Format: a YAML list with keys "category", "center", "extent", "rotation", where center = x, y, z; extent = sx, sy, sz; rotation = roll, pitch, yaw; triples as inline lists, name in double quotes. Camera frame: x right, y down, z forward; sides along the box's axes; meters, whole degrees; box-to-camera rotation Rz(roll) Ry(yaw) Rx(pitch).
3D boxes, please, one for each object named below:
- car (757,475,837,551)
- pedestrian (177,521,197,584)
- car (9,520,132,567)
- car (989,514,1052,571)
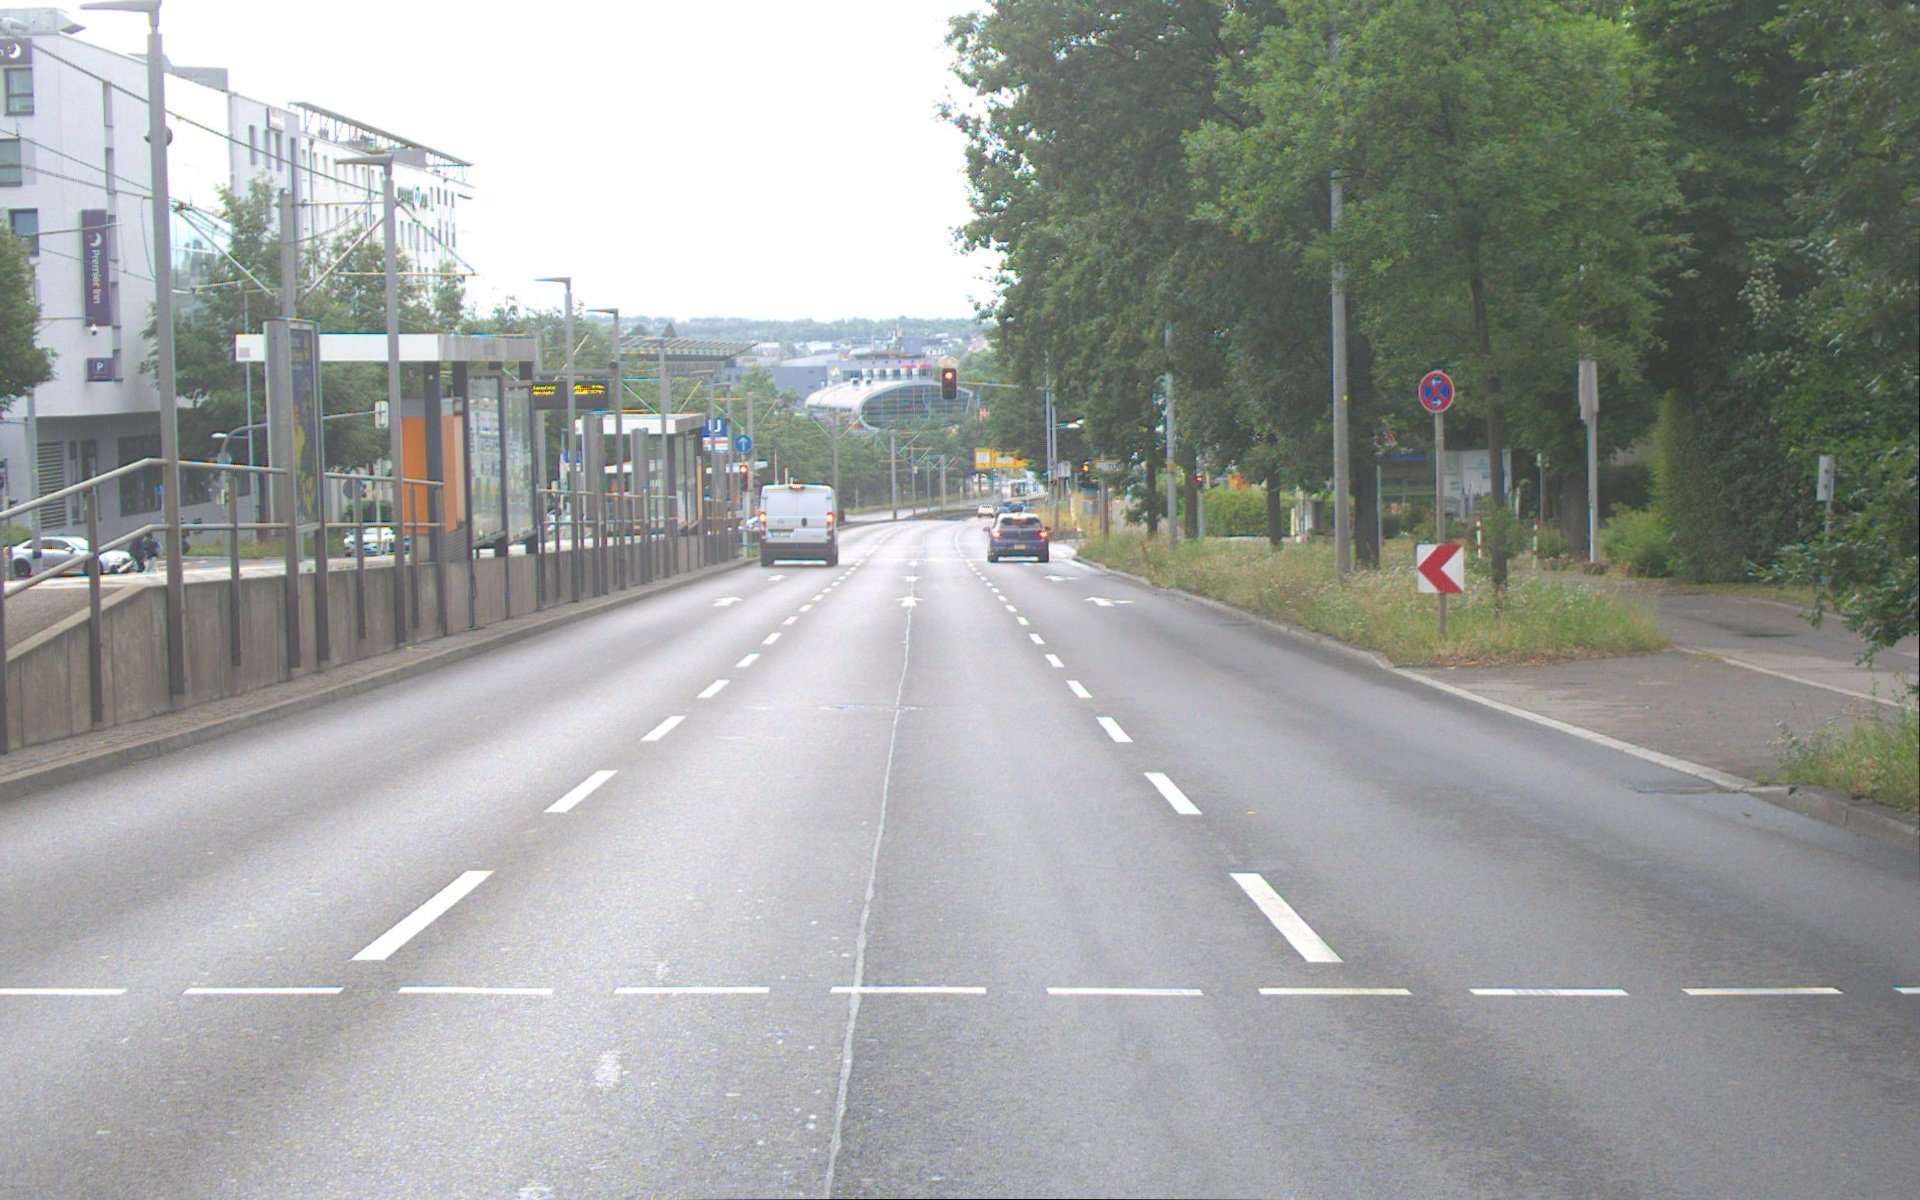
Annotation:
- category: "car"
  center: [-4.504, -2.407, 95.482]
  extent: [2.093, 2.046, 4.607]
  rotation: [0, 1, -1]
- category: "pedestrian"
  center: [-23.625, -1.462, 105.064]
  extent: [0.475, 1.914, 0.490]
  rotation: [0, 1, -1]
- category: "car"
  center: [-30.359, -1.932, 117.296]
  extent: [3.872, 1.431, 1.654]
  rotation: [-2, 2, 26]
- category: "car"
  center: [1.803, -1.739, 103.040]
  extent: [1.774, 1.685, 3.846]
  rotation: [0, 1, -1]
